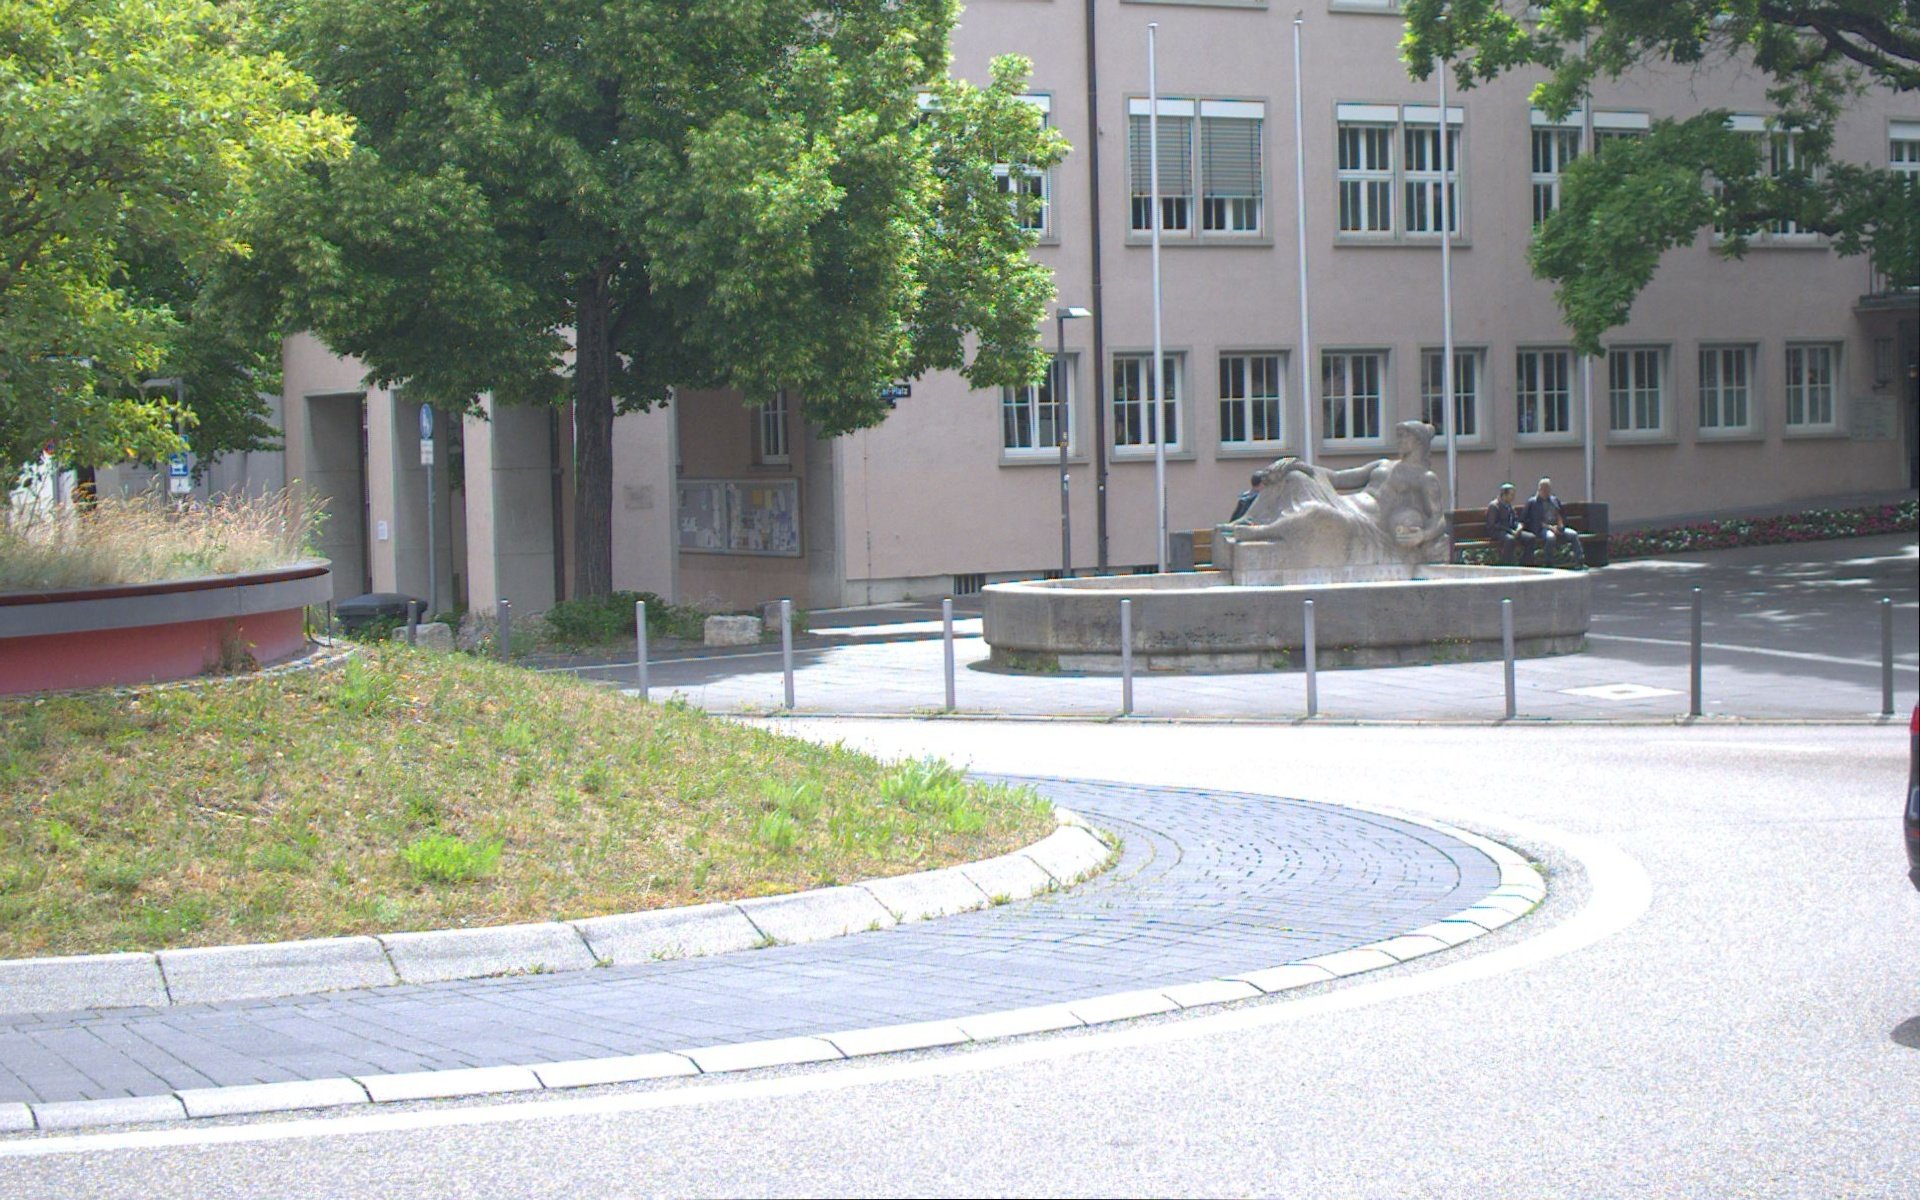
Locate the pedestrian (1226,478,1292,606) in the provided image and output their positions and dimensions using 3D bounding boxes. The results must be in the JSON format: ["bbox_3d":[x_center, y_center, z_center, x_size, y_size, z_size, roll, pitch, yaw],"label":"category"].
[{"bbox_3d":[3.637,-0.716,41.883,0.636,1.518,0.577,0,5,-11],"label":"pedestrian"}]

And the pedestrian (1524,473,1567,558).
[{"bbox_3d":[8.485,-1.220,49.806,0.487,1.218,0.580,1,1,22],"label":"pedestrian"}]

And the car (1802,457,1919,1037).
[{"bbox_3d":[4.650,0.366,11.636,2.031,1.721,4.425,0,1,35],"label":"car"}]

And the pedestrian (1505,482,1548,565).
[{"bbox_3d":[8.107,-1.097,49.162,0.487,1.178,0.580,1,1,22],"label":"pedestrian"}]
